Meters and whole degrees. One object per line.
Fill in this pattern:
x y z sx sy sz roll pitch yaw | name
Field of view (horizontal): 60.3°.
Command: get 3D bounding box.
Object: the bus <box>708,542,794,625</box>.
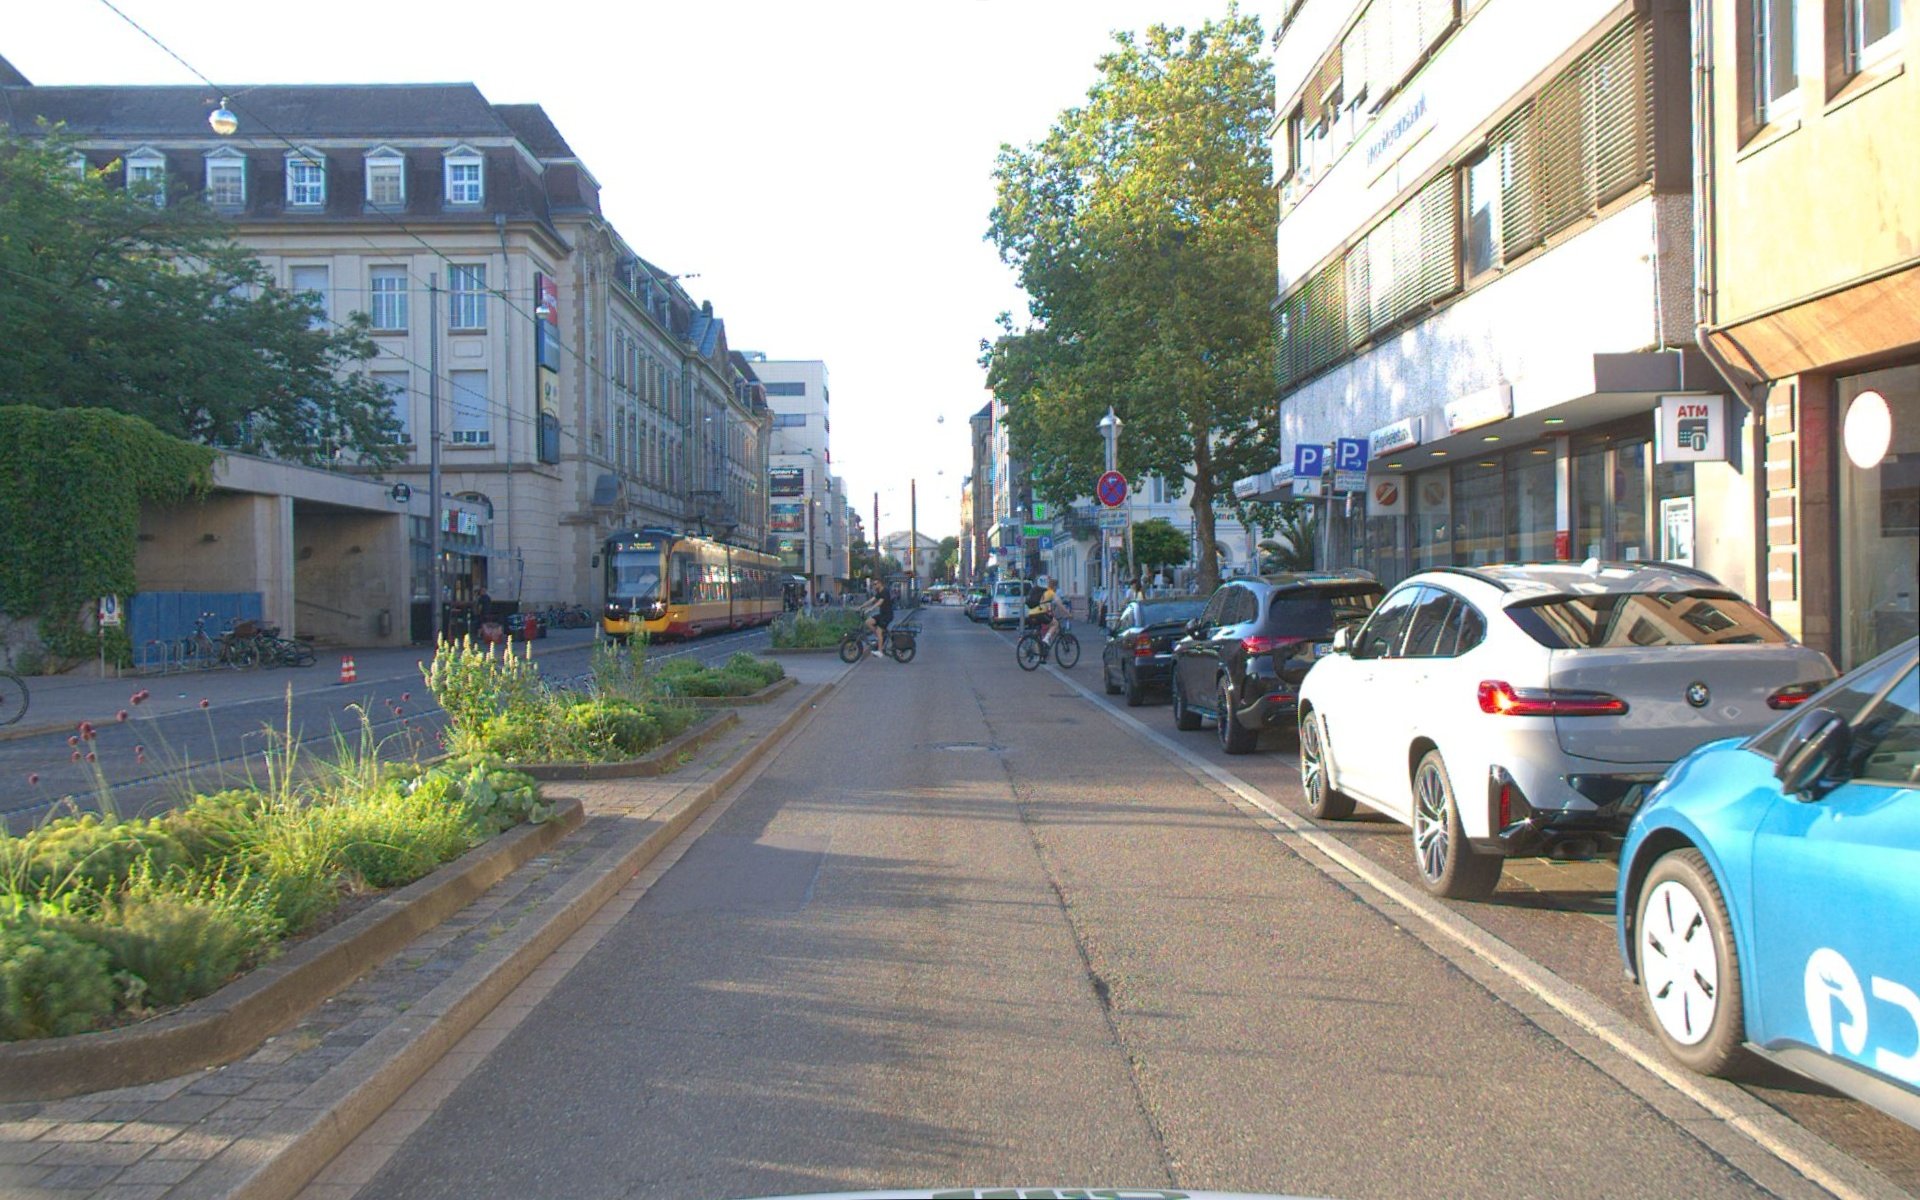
-9.992 -0.659 80.356 2.765 3.676 11.820 -1 -1 -1 | bus

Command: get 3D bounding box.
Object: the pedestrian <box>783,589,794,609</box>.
-13.796 -0.095 132.928 0.764 1.608 0.677 -1 0 -13 | pedestrian

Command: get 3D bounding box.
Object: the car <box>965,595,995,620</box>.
1.415 0.570 119.385 1.953 1.696 4.419 -1 -1 -1 | car

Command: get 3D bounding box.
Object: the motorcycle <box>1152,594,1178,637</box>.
5.848 0.434 47.247 0.446 1.178 2.031 -1 0 -1 | motorcycle

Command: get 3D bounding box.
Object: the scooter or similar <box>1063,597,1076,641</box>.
3.181 0.531 47.862 0.308 1.243 1.273 -1 0 6 | scooter or similar

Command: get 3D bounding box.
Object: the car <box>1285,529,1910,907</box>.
3.225 0.493 9.526 1.779 1.613 4.723 -1 0 0 | car

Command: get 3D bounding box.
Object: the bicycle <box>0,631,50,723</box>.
-12.361 0.975 20.425 1.920 1.131 0.453 0 -2 -42 | bicycle

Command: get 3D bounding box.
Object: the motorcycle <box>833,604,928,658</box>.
-1.747 0.681 36.487 2.014 1.143 0.565 -1 -2 -20 | motorcycle

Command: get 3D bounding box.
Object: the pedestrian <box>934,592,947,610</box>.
-2.171 0.090 183.357 1.210 1.962 1.017 -1 0 -17 | pedestrian

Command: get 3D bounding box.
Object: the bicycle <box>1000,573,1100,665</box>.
1.815 0.350 33.000 0.593 1.770 2.351 0 0 45 | bicycle

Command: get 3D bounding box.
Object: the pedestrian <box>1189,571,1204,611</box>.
8.239 -0.301 57.641 0.463 1.353 0.540 -2 -2 13 | pedestrian

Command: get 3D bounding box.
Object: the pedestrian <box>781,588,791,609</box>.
-13.883 -0.134 131.992 0.760 1.608 0.677 -1 0 -13 | pedestrian

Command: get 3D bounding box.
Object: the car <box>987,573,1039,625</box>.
2.165 -0.044 68.399 1.876 2.016 4.420 -1 0 -1 | car

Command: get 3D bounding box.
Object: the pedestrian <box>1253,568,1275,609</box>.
9.949 -0.363 54.170 0.630 1.307 0.741 -2 -2 15 | pedestrian

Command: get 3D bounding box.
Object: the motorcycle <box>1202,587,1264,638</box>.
7.906 0.360 48.055 0.557 1.448 2.277 0 0 -27 | motorcycle

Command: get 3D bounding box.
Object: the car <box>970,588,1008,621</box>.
1.598 0.266 93.234 1.953 1.791 4.420 -1 0 -1 | car

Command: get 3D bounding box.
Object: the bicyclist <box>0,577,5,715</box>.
-12.301 0.577 20.501 0.698 1.698 0.619 0 -2 -41 | bicyclist

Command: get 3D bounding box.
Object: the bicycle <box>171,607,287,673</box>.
-15.290 0.828 34.610 2.152 1.323 0.579 -1 -2 -1 | bicycle

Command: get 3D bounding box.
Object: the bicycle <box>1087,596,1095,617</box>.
5.878 0.310 74.229 0.245 0.918 1.373 -1 -1 -1 | bicycle

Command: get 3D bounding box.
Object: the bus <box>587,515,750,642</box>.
-9.743 -0.682 57.648 2.765 3.715 17.070 -1 0 -1 | bus

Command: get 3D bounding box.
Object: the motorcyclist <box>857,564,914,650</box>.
-1.655 0.159 36.534 0.987 1.845 0.954 -1 -2 -20 | motorcyclist

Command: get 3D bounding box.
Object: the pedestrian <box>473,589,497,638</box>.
-16.296 0.451 56.735 0.704 1.674 0.655 0 0 -23 | pedestrian

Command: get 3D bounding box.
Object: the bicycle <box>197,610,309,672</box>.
-15.436 0.896 36.133 2.196 1.277 0.579 -1 -2 -1 | bicycle

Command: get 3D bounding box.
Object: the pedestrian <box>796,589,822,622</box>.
-7.275 0.276 79.609 0.706 1.540 1.031 -3 -2 42 | pedestrian

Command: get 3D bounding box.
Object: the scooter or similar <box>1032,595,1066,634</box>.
2.976 0.481 55.300 1.102 1.237 0.300 -2 -1 0 | scooter or similar

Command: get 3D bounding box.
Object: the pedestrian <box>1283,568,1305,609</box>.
10.957 -0.385 54.289 0.630 1.307 0.741 -2 -2 15 | pedestrian

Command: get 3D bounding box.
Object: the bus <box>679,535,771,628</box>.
-9.879 -0.769 70.307 2.765 3.688 8.288 -1 0 -1 | bus

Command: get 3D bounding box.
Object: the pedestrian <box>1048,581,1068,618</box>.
4.805 -0.009 80.886 0.772 1.782 0.893 -1 -2 -8 | pedestrian

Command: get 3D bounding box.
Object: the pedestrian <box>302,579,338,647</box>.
-18.910 0.380 48.874 0.709 1.968 0.793 -1 -2 2 | pedestrian

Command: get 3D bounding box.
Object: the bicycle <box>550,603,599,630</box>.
-17.200 0.727 73.754 2.037 1.168 0.574 -1 -2 -6 | bicycle

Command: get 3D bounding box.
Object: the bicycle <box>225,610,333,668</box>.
-15.559 0.889 37.802 2.196 1.253 0.585 -1 -1 -1 | bicycle

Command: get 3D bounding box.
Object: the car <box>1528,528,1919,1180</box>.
3.195 0.600 4.103 1.773 1.579 4.835 -1 0 -2 | car

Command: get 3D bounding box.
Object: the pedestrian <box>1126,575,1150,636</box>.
5.103 0.161 47.484 0.601 1.747 0.662 -1 -2 1 | pedestrian

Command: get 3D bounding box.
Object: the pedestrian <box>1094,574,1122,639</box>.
4.252 0.176 47.606 0.699 1.835 0.824 -2 -1 2 | pedestrian

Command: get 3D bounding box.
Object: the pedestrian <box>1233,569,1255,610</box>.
9.334 -0.340 54.402 0.630 1.307 0.741 -2 -2 15 | pedestrian

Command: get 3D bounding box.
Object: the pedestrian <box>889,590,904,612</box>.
-5.066 0.112 131.933 1.026 1.715 0.909 -1 -2 10 | pedestrian

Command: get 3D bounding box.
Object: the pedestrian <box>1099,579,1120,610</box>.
6.566 -0.250 72.807 0.806 1.329 0.869 -1 -2 -2 | pedestrian

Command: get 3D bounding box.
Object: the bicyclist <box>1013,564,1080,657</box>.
1.728 0.205 32.954 0.925 1.807 0.954 -1 0 -45 | bicyclist

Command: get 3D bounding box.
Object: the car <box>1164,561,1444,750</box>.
3.249 0.425 16.541 1.740 1.565 4.577 -1 2 -1 | car

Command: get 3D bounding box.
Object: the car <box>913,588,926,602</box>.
-5.536 -0.667 227.998 1.725 1.859 3.569 -1 -1 -1 | car

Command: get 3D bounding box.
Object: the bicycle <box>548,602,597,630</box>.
-17.126 0.711 73.089 2.056 1.168 0.574 -1 -2 -6 | bicycle

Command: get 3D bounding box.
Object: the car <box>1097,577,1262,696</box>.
3.019 0.457 23.542 1.622 1.404 4.340 -5 0 -1 | car

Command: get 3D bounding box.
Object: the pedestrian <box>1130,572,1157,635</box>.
5.197 0.105 46.781 0.664 1.747 0.654 -1 -2 1 | pedestrian

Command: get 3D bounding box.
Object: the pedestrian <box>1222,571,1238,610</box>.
9.215 -0.305 56.431 0.464 1.307 0.540 -2 -2 15 | pedestrian

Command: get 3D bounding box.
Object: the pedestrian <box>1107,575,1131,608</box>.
6.670 -0.355 69.404 0.884 1.337 0.966 -1 -2 -2 | pedestrian
